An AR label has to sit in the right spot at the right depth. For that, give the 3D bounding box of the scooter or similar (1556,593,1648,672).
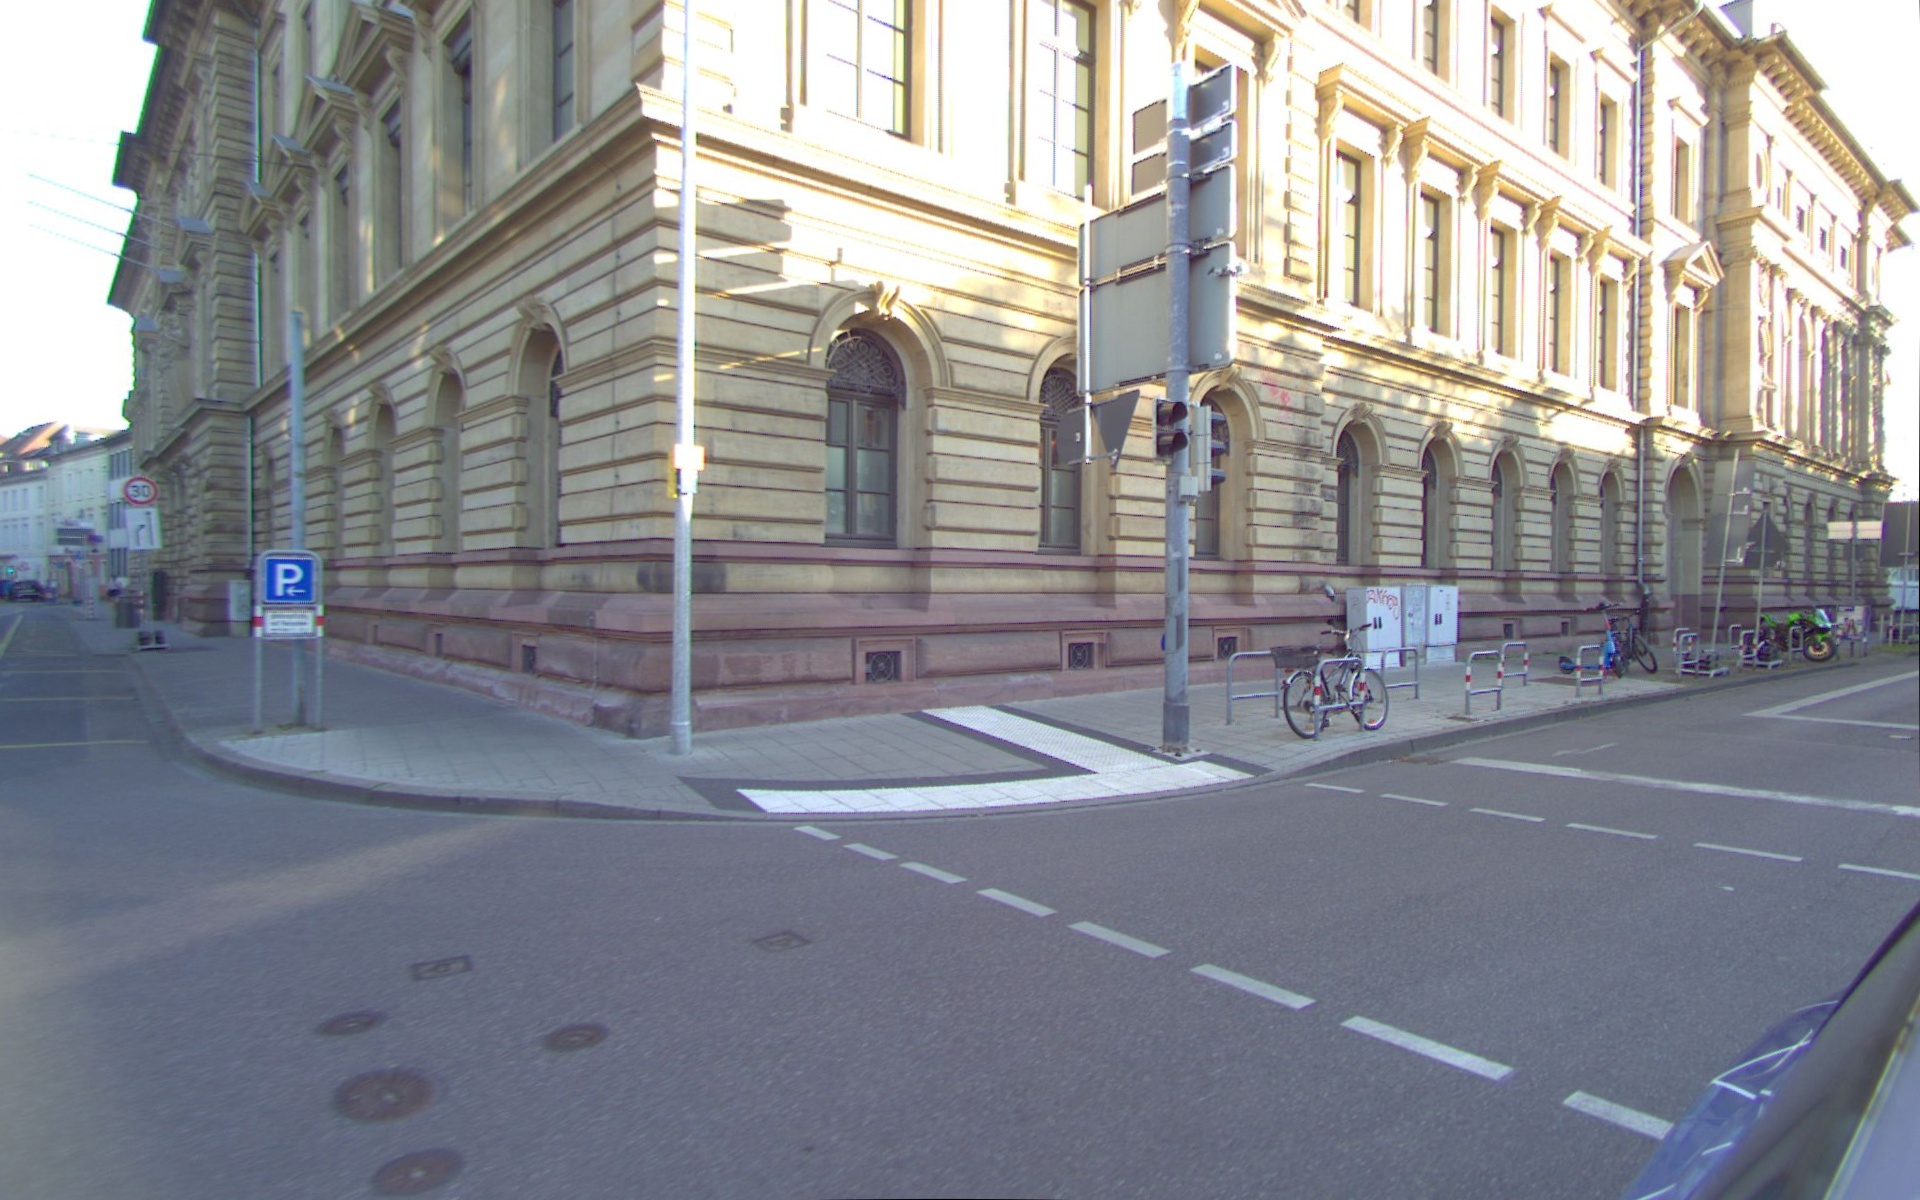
[{"bbox_3d":[10.657,0.524,16.828,0.571,1.210,1.137,0,3,-20],"label":"scooter or similar"}]

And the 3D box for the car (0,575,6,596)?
[{"bbox_3d":[-78.797,-1.188,81.811,3.801,1.680,1.696,1,1,35],"label":"car"}]

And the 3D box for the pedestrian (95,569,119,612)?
[{"bbox_3d":[-37.090,-0.414,44.017,0.762,1.876,0.810,0,1,-43],"label":"pedestrian"}]

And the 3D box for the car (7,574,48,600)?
[{"bbox_3d":[-68.616,-0.952,74.446,3.806,1.871,1.694,1,1,39],"label":"car"}]

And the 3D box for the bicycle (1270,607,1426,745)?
[{"bbox_3d":[3.968,0.719,10.286,1.885,1.203,0.583,-2,2,-38],"label":"bicycle"}]

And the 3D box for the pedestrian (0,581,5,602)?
[{"bbox_3d":[-69.255,-0.650,73.090,0.329,1.510,0.360,1,0,39],"label":"pedestrian"}]

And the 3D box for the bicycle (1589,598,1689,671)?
[{"bbox_3d":[11.823,0.565,17.606,1.908,1.148,0.830,0,3,-38],"label":"bicycle"}]

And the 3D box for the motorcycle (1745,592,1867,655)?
[{"bbox_3d":[18.754,0.498,22.515,0.695,1.230,2.109,1,3,-8],"label":"motorcycle"}]
